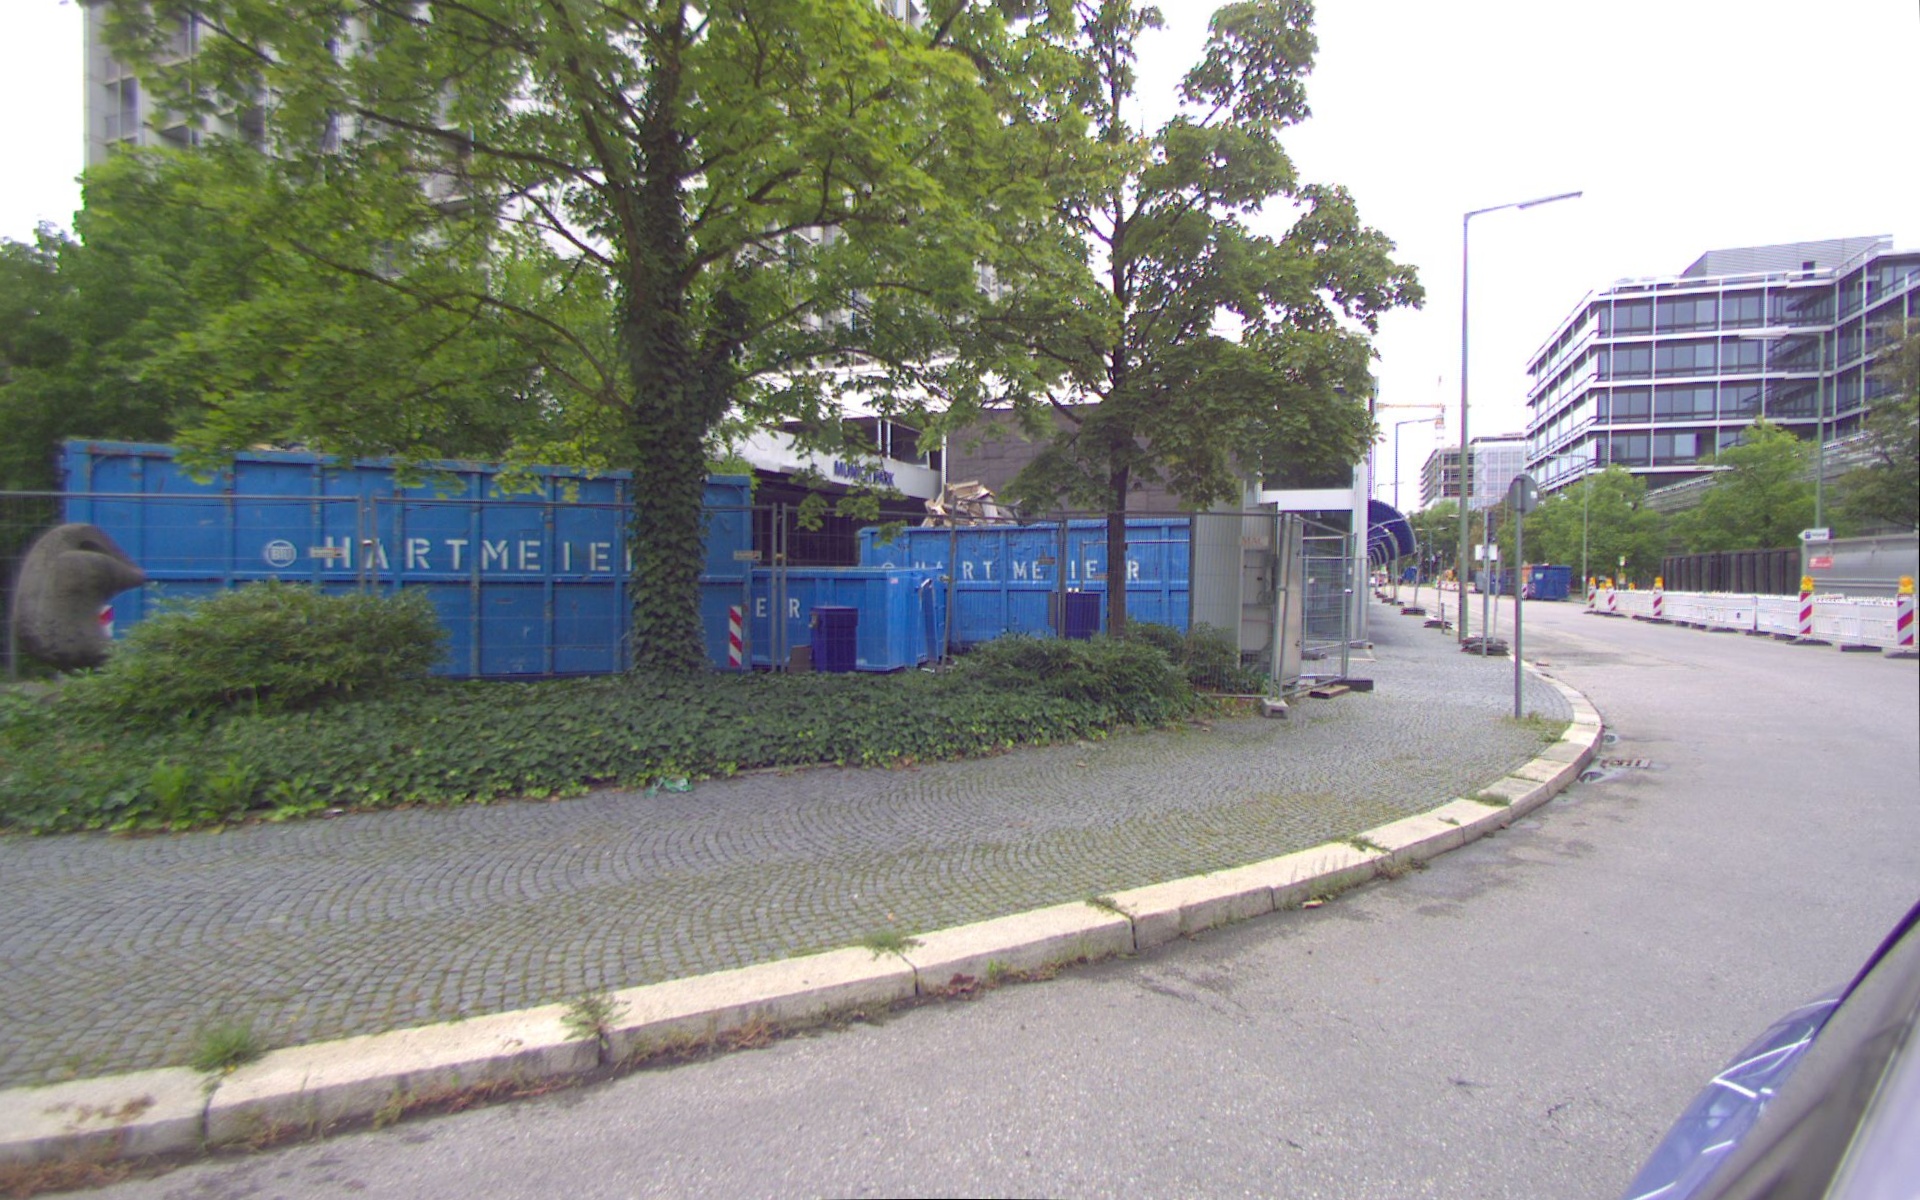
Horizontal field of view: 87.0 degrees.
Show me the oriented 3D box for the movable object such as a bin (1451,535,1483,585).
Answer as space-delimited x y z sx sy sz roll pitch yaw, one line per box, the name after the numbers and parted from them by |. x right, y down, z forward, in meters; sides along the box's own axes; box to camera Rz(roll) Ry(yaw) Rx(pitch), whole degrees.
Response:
67.201 -5.198 134.322 3.209 6.401 8.270 1 1 24 | movable object such as a bin

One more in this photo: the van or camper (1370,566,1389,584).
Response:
69.708 -4.145 167.971 2.641 2.801 6.858 1 2 24 | van or camper

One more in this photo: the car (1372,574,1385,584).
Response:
67.103 -3.415 162.312 1.892 1.657 3.970 1 2 23 | car
